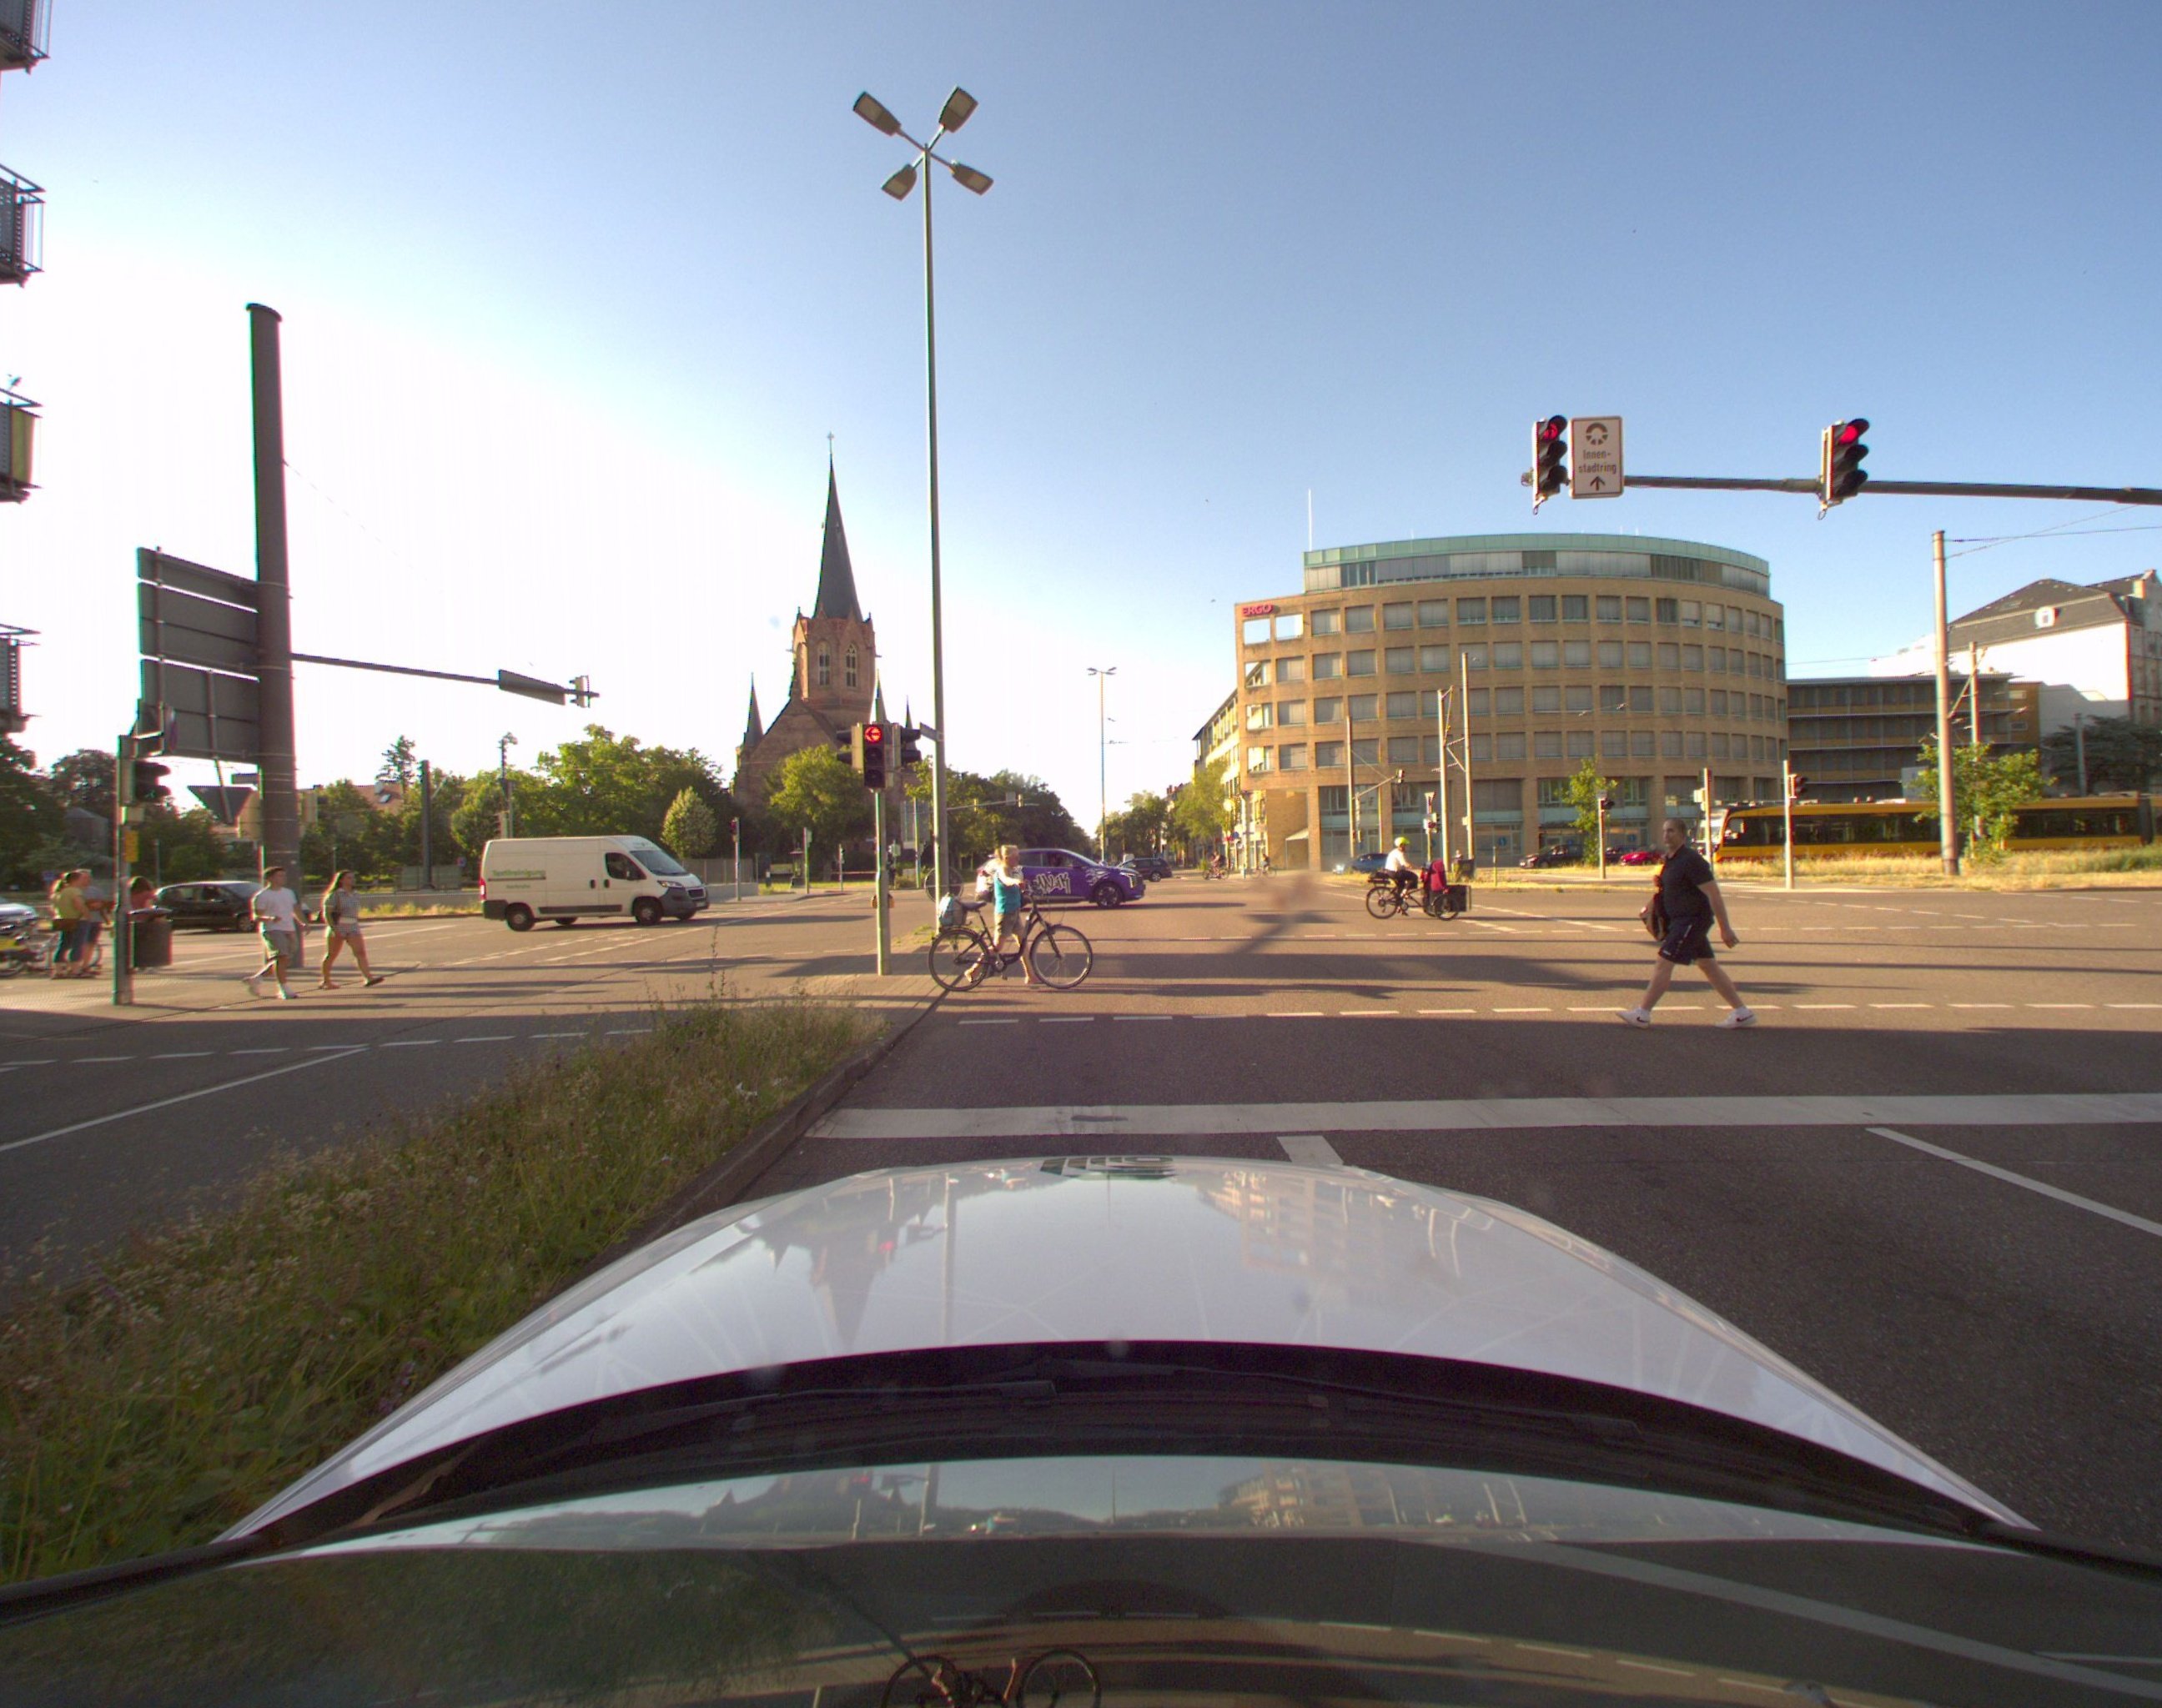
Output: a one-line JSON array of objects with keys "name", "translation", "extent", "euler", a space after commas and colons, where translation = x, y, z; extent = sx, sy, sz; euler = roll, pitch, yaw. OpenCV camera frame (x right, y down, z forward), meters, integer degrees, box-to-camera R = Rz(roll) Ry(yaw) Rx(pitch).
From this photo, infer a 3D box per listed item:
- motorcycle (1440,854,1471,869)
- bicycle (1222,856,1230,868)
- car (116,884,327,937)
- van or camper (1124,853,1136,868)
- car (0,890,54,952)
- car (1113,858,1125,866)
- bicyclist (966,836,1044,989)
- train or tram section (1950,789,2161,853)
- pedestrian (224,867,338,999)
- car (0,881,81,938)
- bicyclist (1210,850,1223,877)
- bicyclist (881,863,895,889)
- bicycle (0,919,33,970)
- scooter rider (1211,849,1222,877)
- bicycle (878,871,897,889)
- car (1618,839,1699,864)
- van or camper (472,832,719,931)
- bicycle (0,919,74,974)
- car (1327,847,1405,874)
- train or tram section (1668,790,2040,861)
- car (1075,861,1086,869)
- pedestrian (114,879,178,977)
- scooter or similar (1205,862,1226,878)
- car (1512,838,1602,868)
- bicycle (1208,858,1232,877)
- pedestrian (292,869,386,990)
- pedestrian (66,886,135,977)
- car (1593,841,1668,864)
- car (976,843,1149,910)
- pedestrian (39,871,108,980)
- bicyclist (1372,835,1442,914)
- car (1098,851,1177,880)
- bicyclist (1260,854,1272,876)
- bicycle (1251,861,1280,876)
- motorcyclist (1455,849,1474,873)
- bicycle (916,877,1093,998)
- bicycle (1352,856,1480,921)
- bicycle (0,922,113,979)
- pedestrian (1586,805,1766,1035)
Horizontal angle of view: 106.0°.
[{"name": "motorcycle", "translation": [25.052, 0.505, 54.518], "extent": [1.811, 0.953, 0.524], "euler": [-2, 0, 0]}, {"name": "bicycle", "translation": [15.007, 0.860, 84.220], "extent": [0.769, 1.195, 2.471], "euler": [-2, 0, 9]}, {"name": "car", "translation": [-26.961, 1.754, 25.672], "extent": [4.470, 1.409, 1.960], "euler": [-2, 0, -1]}, {"name": "van or camper", "translation": [8.825, 1.191, 146.308], "extent": [1.986, 2.640, 5.353], "euler": [-2, 0, 2]}, {"name": "car", "translation": [-31.269, 1.893, 22.008], "extent": [4.470, 1.618, 1.960], "euler": [-2, 0, -1]}, {"name": "car", "translation": [7.946, 1.655, 171.548], "extent": [1.990, 1.592, 3.994], "euler": [-2, 0, -4]}, {"name": "bicyclist", "translation": [-0.852, 0.642, 9.410], "extent": [0.780, 1.660, 0.900], "euler": [-2, 0, -1]}, {"name": "train or tram section", "translation": [59.657, -1.951, 45.979], "extent": [19.881, 3.177, 3.690], "euler": [-2, 0, -8]}, {"name": "pedestrian", "translation": [-11.084, 1.075, 11.302], "extent": [0.917, 1.758, 0.676], "euler": [-2, 0, 9]}, {"name": "car", "translation": [-34.685, 1.765, 25.362], "extent": [4.439, 1.672, 2.121], "euler": [-2, 0, 0]}, {"name": "bicyclist", "translation": [8.986, 0.608, 53.950], "extent": [0.786, 1.736, 0.476], "euler": [-2, 0, 7]}, {"name": "bicyclist", "translation": [-12.974, 1.498, 54.696], "extent": [0.644, 1.694, 0.774], "euler": [-1, 0, -35]}, {"name": "bicycle", "translation": [-20.326, 1.712, 14.739], "extent": [0.494, 0.907, 1.703], "euler": [-2, 0, 0]}, {"name": "scooter rider", "translation": [9.140, 0.598, 54.825], "extent": [0.676, 1.814, 0.476], "euler": [-2, 0, 7]}, {"name": "bicycle", "translation": [-12.993, 1.740, 54.726], "extent": [0.650, 1.139, 1.662], "euler": [-2, 0, -35]}, {"name": "car", "translation": [34.758, -0.143, 49.084], "extent": [3.595, 1.342, 1.722], "euler": [-2, 0, 1]}, {"name": "van or camper", "translation": [-13.158, 0.730, 22.329], "extent": [5.401, 2.416, 2.166], "euler": [-2, 0, 1]}, {"name": "bicycle", "translation": [-19.701, 1.716, 14.873], "extent": [0.494, 0.907, 1.703], "euler": [-2, 0, 0]}, {"name": "car", "translation": [17.942, 0.415, 51.423], "extent": [4.218, 1.502, 1.998], "euler": [-2, 0, -3]}, {"name": "train or tram section", "translation": [41.622, -1.486, 44.245], "extent": [17.055, 3.177, 3.698], "euler": [-2, 0, -2]}, {"name": "car", "translation": [-0.088, 1.977, 150.353], "extent": [1.773, 1.449, 4.001], "euler": [-2, 0, 1]}, {"name": "pedestrian", "translation": [-16.276, 1.265, 14.184], "extent": [0.464, 1.642, 0.579], "euler": [-2, 0, 21]}, {"name": "scooter or similar", "translation": [9.057, 1.056, 54.841], "extent": [1.393, 1.001, 0.476], "euler": [-2, 0, 7]}, {"name": "car", "translation": [28.547, -0.057, 48.899], "extent": [4.212, 1.614, 2.001], "euler": [-2, 0, 2]}, {"name": "bicycle", "translation": [9.185, 0.901, 53.926], "extent": [1.511, 1.172, 0.476], "euler": [-2, 0, 7]}, {"name": "pedestrian", "translation": [-10.937, 1.092, 12.018], "extent": [0.749, 1.709, 0.676], "euler": [-2, 0, 9]}, {"name": "pedestrian", "translation": [-17.193, 1.343, 14.286], "extent": [0.466, 1.530, 0.576], "euler": [-2, 0, 0]}, {"name": "car", "translation": [34.963, -0.102, 51.846], "extent": [3.596, 1.342, 1.722], "euler": [-2, 0, 0]}, {"name": "car", "translation": [-0.448, 0.587, 21.721], "extent": [4.386, 1.573, 1.837], "euler": [-2, 0, 2]}, {"name": "pedestrian", "translation": [-16.847, 1.184, 13.624], "extent": [0.550, 1.769, 0.470], "euler": [-2, 0, 2]}, {"name": "bicyclist", "translation": [6.439, 0.385, 16.153], "extent": [0.877, 1.487, 1.161], "euler": [-2, 0, -1]}, {"name": "car", "translation": [3.461, 0.700, 50.428], "extent": [4.635, 1.598, 1.999], "euler": [-2, 0, -2]}, {"name": "bicyclist", "translation": [12.353, 0.745, 54.475], "extent": [0.663, 1.469, 0.534], "euler": [-2, 0, 5]}, {"name": "bicycle", "translation": [12.321, 0.975, 54.475], "extent": [1.812, 0.984, 0.534], "euler": [-2, 0, 4]}, {"name": "motorcyclist", "translation": [25.678, 0.453, 54.544], "extent": [0.844, 1.585, 0.802], "euler": [-2, 0, 2]}, {"name": "bicycle", "translation": [-0.803, 0.888, 8.950], "extent": [1.822, 1.188, 0.734], "euler": [-2, 0, -1]}, {"name": "bicycle", "translation": [6.596, 0.660, 16.149], "extent": [2.037, 1.168, 1.161], "euler": [-2, 0, -1]}, {"name": "bicycle", "translation": [-18.919, 1.746, 14.845], "extent": [0.494, 0.840, 1.703], "euler": [-2, 0, 0]}, {"name": "pedestrian", "translation": [4.849, 0.519, 6.693], "extent": [0.940, 1.768, 0.670], "euler": [-2, 0, 5]}]
